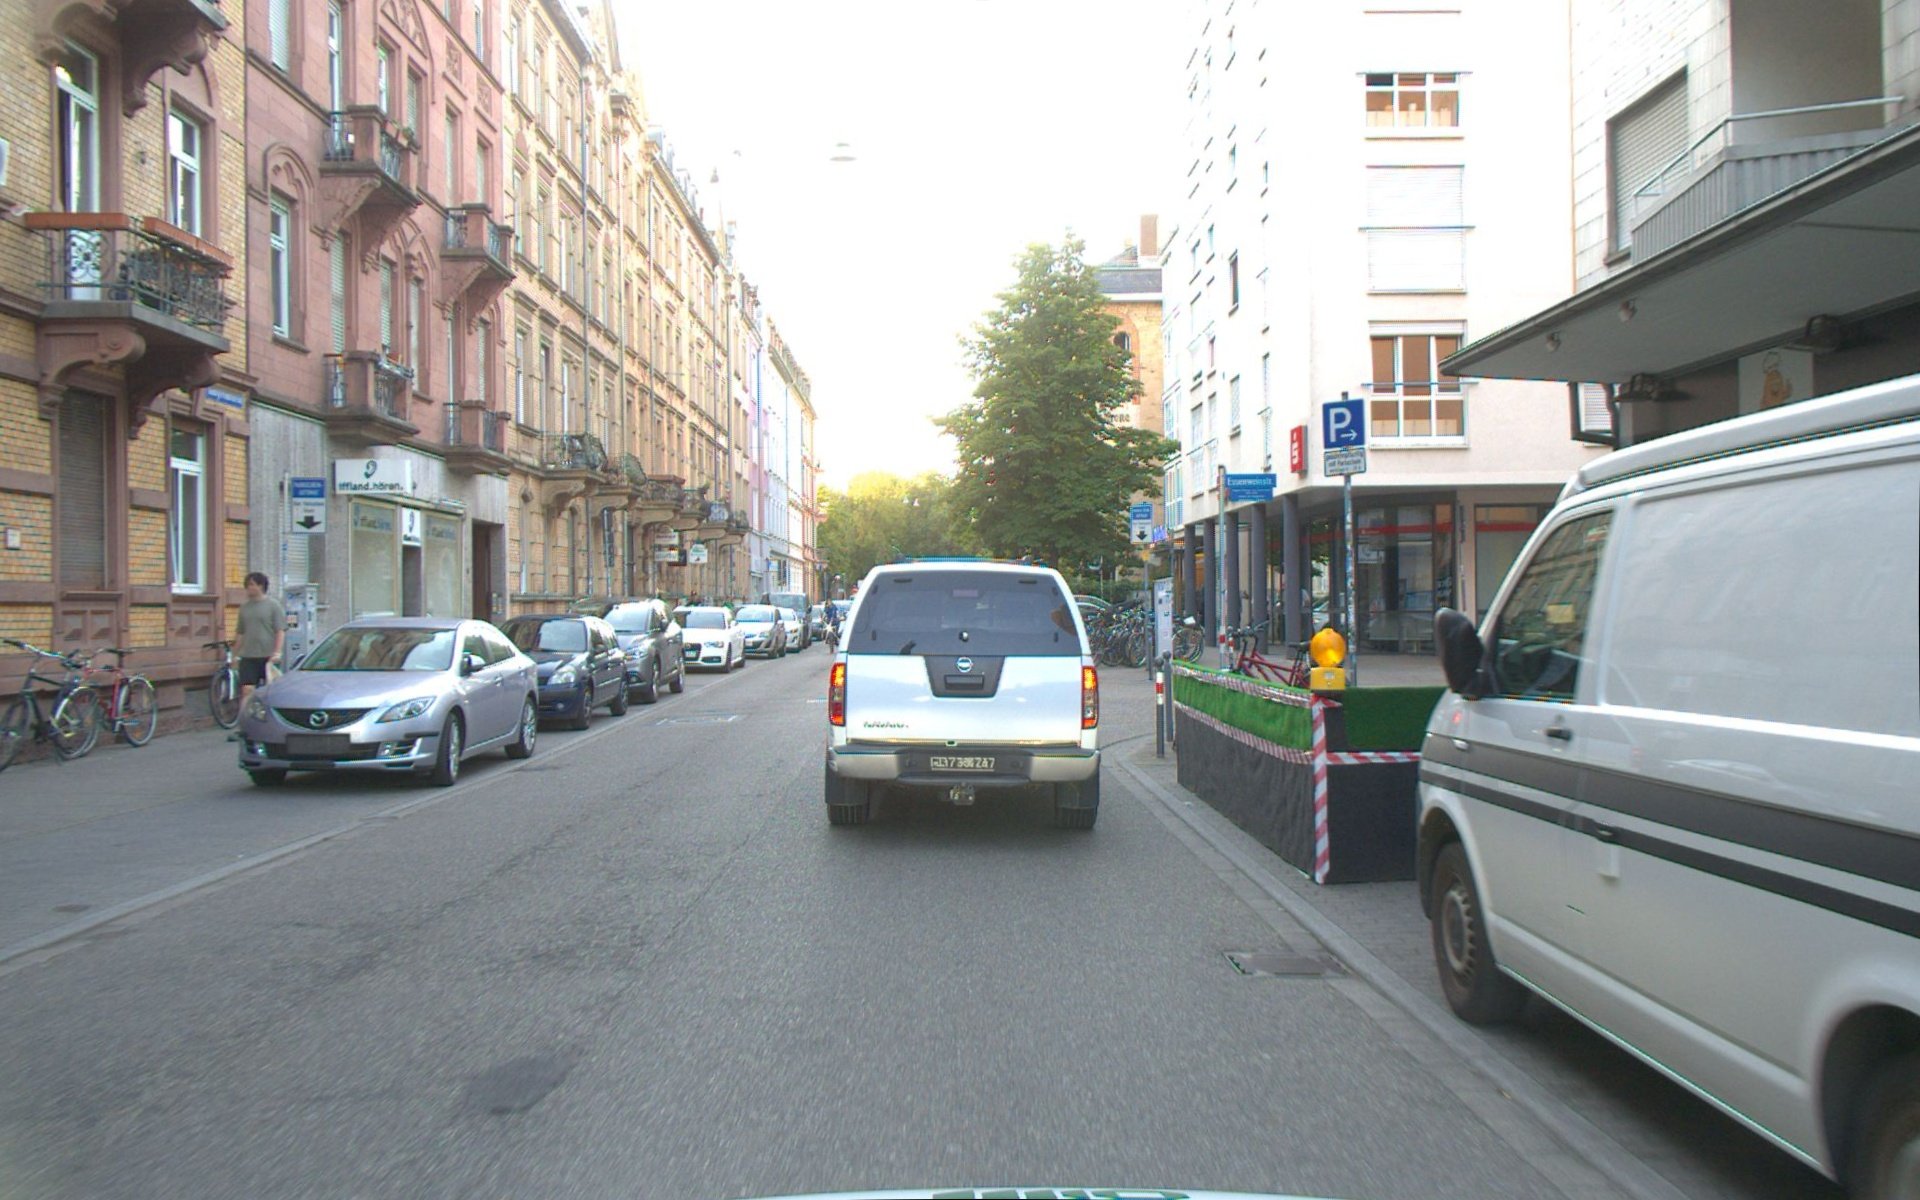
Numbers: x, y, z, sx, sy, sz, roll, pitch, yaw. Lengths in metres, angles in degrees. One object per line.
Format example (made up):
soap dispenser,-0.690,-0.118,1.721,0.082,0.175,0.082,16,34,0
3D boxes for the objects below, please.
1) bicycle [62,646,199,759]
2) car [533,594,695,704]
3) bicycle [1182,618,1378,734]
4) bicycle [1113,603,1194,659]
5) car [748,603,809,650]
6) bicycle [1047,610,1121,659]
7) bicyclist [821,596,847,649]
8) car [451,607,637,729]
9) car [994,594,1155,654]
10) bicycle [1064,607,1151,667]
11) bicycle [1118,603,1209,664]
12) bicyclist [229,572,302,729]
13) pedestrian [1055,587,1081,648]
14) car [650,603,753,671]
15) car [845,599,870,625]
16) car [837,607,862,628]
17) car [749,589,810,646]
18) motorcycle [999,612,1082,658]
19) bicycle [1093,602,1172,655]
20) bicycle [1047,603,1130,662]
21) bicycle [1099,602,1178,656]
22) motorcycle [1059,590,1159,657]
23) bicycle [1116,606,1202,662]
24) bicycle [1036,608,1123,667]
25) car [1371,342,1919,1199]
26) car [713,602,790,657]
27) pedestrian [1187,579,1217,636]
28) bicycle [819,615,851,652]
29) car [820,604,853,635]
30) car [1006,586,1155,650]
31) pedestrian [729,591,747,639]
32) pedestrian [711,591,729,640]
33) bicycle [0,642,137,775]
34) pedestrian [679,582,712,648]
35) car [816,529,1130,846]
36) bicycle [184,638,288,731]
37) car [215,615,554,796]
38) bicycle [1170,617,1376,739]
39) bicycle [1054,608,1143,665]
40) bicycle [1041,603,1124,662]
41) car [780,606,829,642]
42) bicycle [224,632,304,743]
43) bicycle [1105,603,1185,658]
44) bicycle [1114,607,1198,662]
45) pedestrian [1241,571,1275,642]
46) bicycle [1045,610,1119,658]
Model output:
bicycle,-8.702,1.049,17.424,0.538,1.055,1.759,2,0,-1
car,-5.596,0.728,27.306,1.815,1.662,4.445,0,0,-1
bicycle,3.401,0.819,17.665,1.906,1.154,0.655,-4,-1,36
bicycle,4.258,0.680,36.483,1.687,1.137,0.654,-3,-1,2
car,-5.983,0.856,54.916,1.748,1.447,4.482,1,0,-3
bicycle,2.993,0.833,40.047,1.684,1.049,0.667,-5,-1,1
bicyclist,-4.012,0.711,52.720,0.631,1.649,0.919,-2,0,5
car,-5.434,0.837,22.025,1.552,1.445,3.696,0,0,0
car,3.296,0.677,47.842,4.340,1.480,1.777,-3,0,-7
bicycle,3.020,0.755,34.023,1.687,1.137,0.707,-3,-1,2
bicycle,4.140,0.676,33.625,1.693,1.151,0.577,-3,-1,-13
bicyclist,-8.009,0.576,19.101,0.697,1.760,0.838,0,-2,-19
pedestrian,3.204,0.519,49.104,0.614,1.784,0.586,0,-2,-13
car,-5.835,0.805,37.759,1.722,1.436,4.507,0,0,-1
car,-8.109,0.940,130.514,1.775,2.011,4.181,1,0,-5
car,-7.769,1.233,116.441,1.665,1.451,4.019,1,0,-4
car,-6.508,0.625,60.137,1.954,1.957,4.947,1,0,-4
motorcycle,2.127,0.913,43.708,2.025,1.097,0.661,-3,-1,-17
bicycle,4.046,0.664,38.852,1.689,1.137,0.653,-3,-1,-4
bicycle,2.953,0.737,37.834,1.750,1.202,0.734,-5,-1,9
bicycle,4.112,0.668,38.132,1.689,1.137,0.653,-3,-1,-4
motorcycle,3.849,0.606,42.848,2.440,1.576,0.824,-3,-1,1
bicycle,4.157,0.713,34.651,1.687,1.072,0.654,-3,-1,2
bicycle,2.511,0.792,34.871,1.688,1.137,0.706,-3,-1,-3
car,2.768,0.469,4.501,1.919,2.008,5.001,-3,0,-1
car,-5.921,0.818,47.355,1.682,1.483,4.000,1,0,0
pedestrian,7.581,0.234,51.876,0.712,1.746,0.963,-3,-1,-1
bicycle,-3.981,1.065,52.891,0.631,1.100,2.170,-2,0,5
car,-7.028,1.081,94.501,1.808,1.688,4.249,-1,0,-4
car,3.652,0.546,50.616,4.310,1.676,1.746,-3,0,-2
pedestrian,-8.402,0.566,62.547,0.593,1.803,0.776,2,0,-5
pedestrian,-9.033,0.566,62.301,0.568,1.802,0.996,2,0,-5
bicycle,-8.685,1.017,16.022,0.538,1.143,1.759,2,0,-1
pedestrian,-7.232,0.408,45.189,0.542,1.786,1.023,-1,-1,13
car,0.156,0.540,12.606,1.871,1.885,5.271,1,0,2
bicycle,-8.905,1.018,20.404,0.440,1.040,1.848,3,0,-1
car,-5.224,0.875,15.699,1.688,1.445,4.580,0,0,-1
bicycle,3.144,0.800,16.717,1.906,1.154,0.655,-4,-1,36
bicycle,2.977,0.784,35.671,1.773,1.137,0.706,-3,-1,-3
bicycle,2.871,0.756,38.675,1.830,1.202,0.743,-5,-1,4
car,-6.484,1.014,69.266,1.701,1.443,4.776,1,-1,-2
bicycle,-8.001,0.978,19.063,0.697,1.217,1.732,0,-1,-18
bicycle,4.143,0.685,37.050,1.687,1.137,0.654,-3,-1,2
bicycle,4.180,0.725,35.323,1.687,1.072,0.654,-3,-1,2
pedestrian,7.542,0.158,41.911,0.649,1.753,0.662,-1,1,26
bicycle,2.995,0.837,40.667,1.736,1.040,0.565,-5,-1,1
